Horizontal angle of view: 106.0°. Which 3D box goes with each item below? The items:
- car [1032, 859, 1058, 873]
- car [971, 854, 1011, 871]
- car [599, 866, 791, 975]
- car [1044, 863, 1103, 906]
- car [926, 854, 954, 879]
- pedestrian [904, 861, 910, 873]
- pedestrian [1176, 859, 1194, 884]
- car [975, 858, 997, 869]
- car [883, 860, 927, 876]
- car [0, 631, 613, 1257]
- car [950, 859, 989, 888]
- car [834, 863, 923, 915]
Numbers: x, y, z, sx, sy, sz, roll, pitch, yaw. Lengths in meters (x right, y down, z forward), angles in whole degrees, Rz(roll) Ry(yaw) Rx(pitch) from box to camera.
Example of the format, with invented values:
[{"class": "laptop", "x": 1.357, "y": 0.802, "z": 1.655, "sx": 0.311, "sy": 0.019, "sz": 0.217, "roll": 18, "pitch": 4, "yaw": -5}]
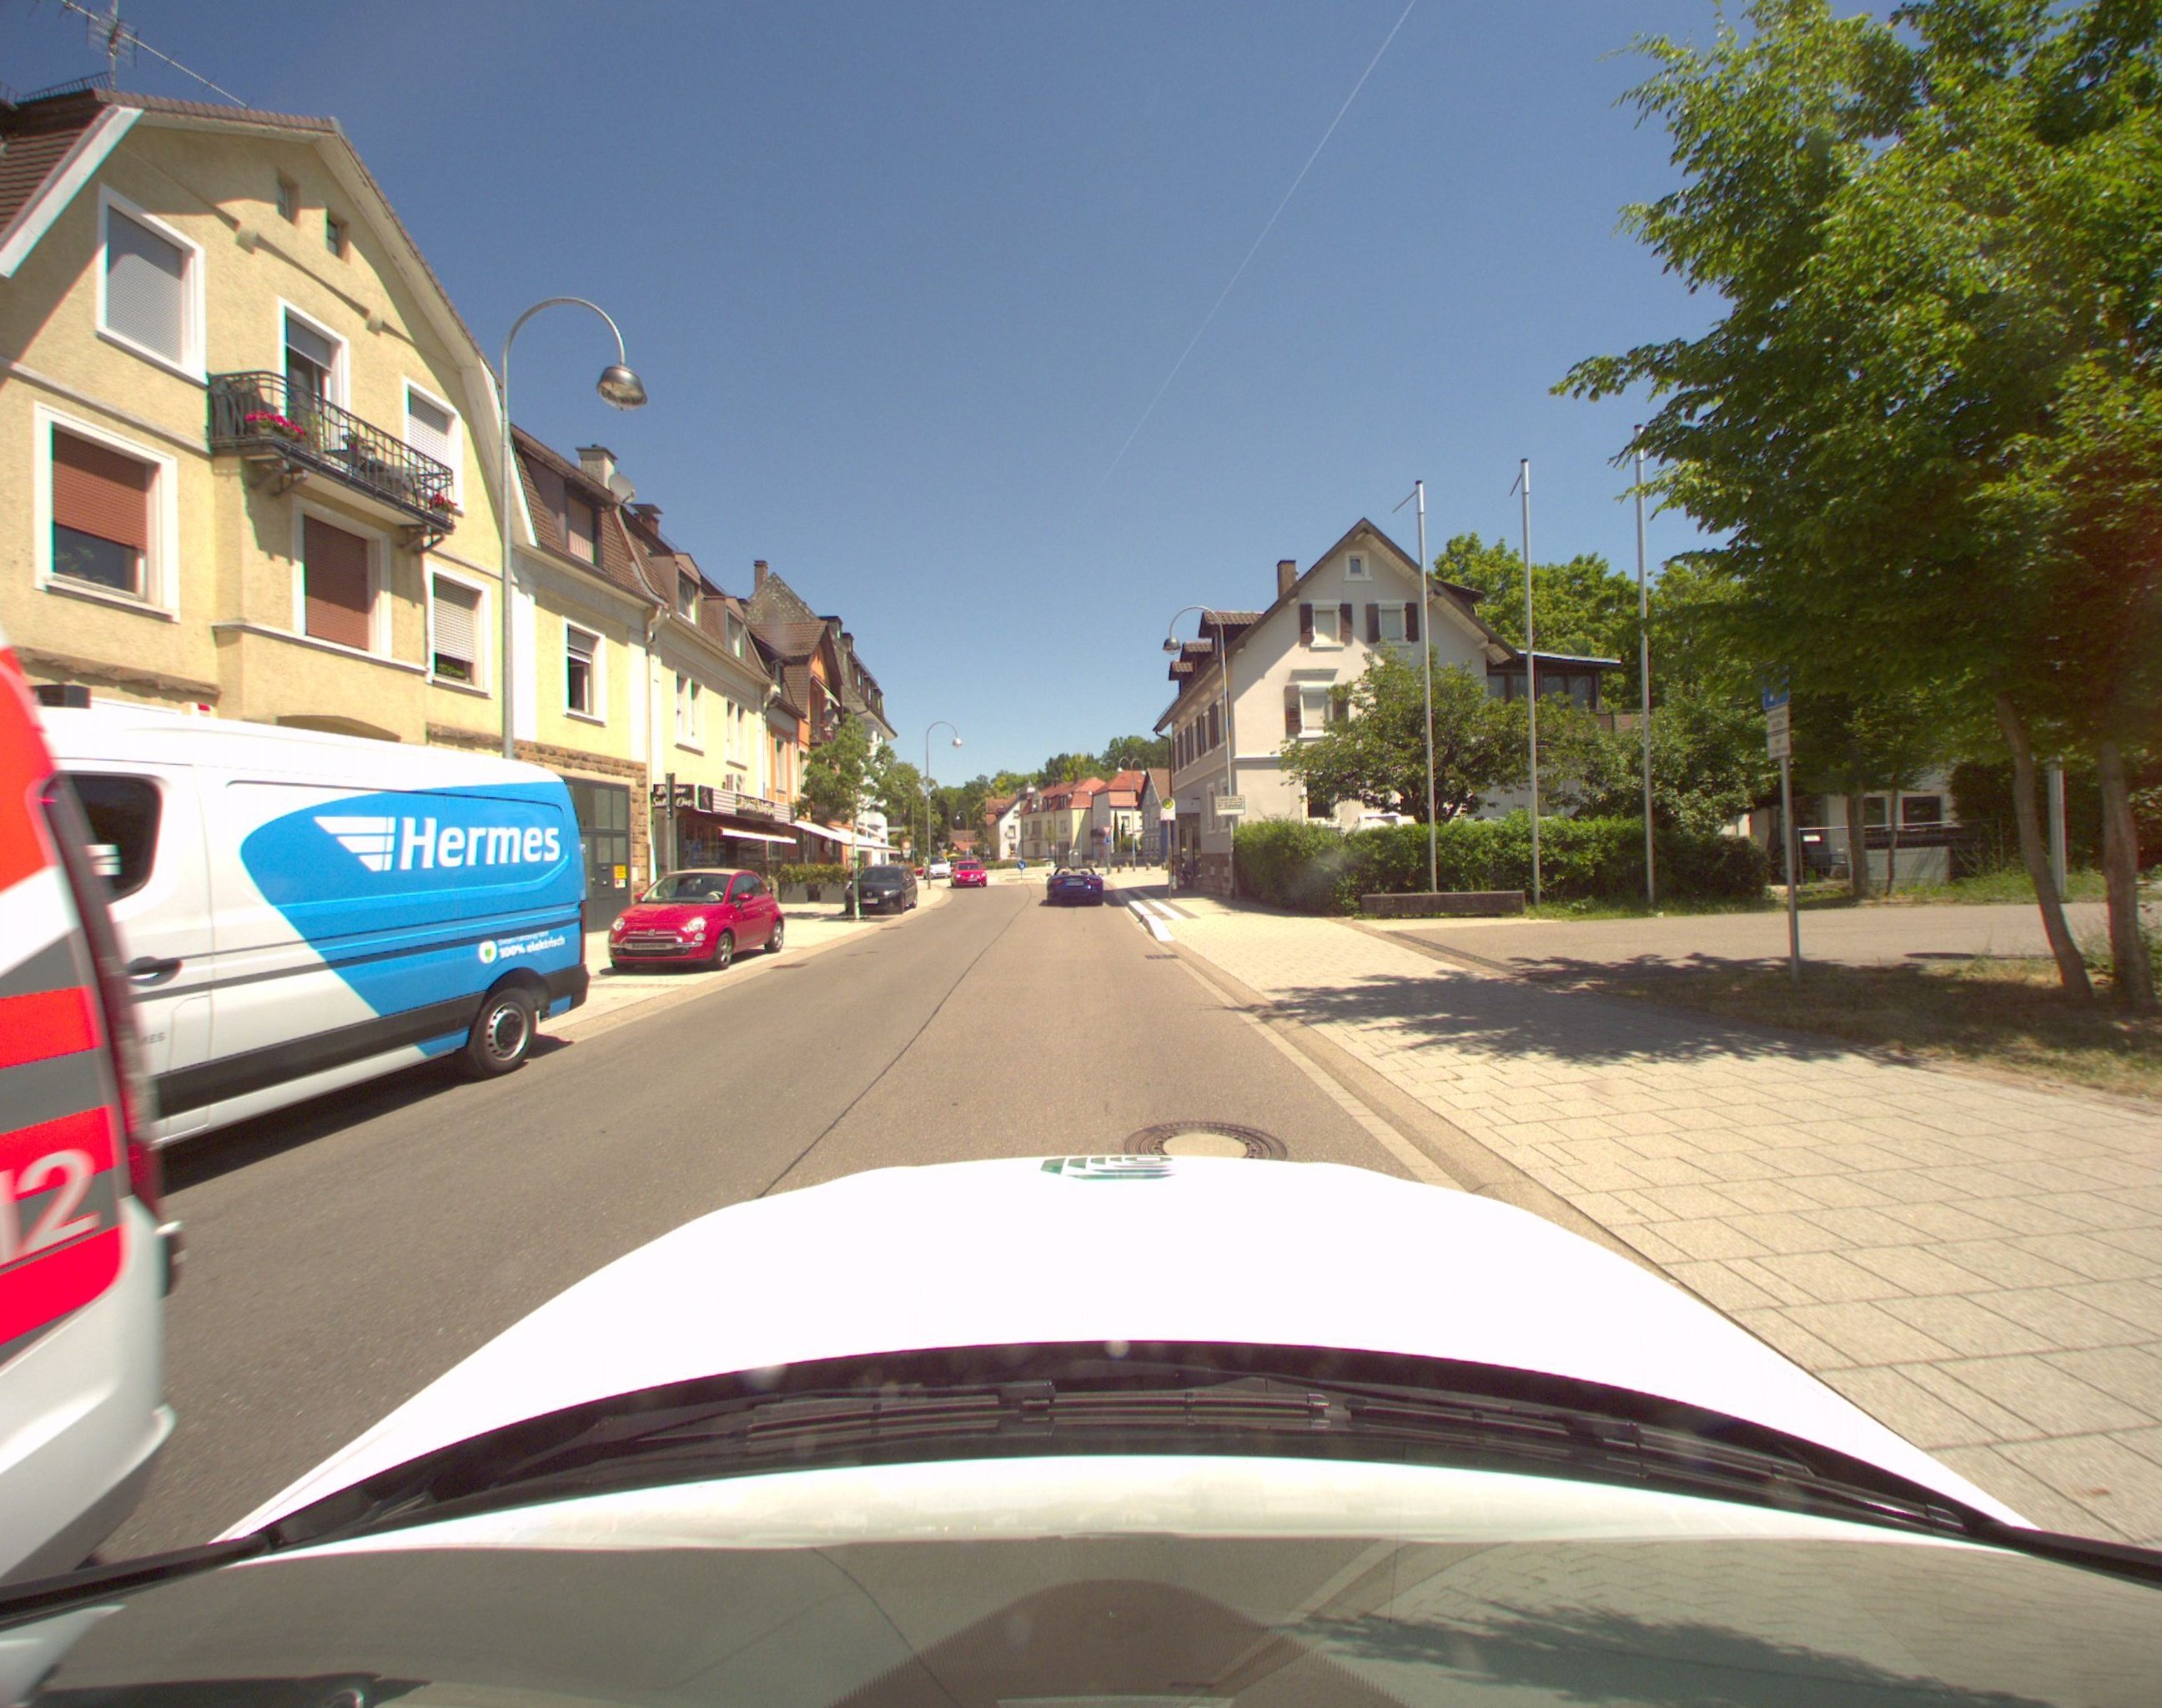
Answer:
[{"class": "car", "x": -4.444, "y": 1.544, "z": 100.968, "sx": 1.926, "sy": 1.613, "sz": 4.117, "roll": -2, "pitch": -2, "yaw": -22}, {"class": "car", "x": -7.958, "y": 0.778, "z": 71.837, "sx": 2.006, "sy": 1.329, "sz": 4.161, "roll": -2, "pitch": 0, "yaw": -29}, {"class": "car", "x": -6.056, "y": 0.971, "z": 13.229, "sx": 1.556, "sy": 1.521, "sz": 3.511, "roll": 0, "pitch": -1, "yaw": -3}, {"class": "car", "x": -0.270, "y": 1.028, "z": 28.539, "sx": 1.905, "sy": 1.360, "sz": 4.283, "roll": 0, "pitch": 0, "yaw": -1}, {"class": "car", "x": -11.093, "y": 0.963, "z": 63.791, "sx": 1.995, "sy": 1.822, "sz": 4.398, "roll": -3, "pitch": 0, "yaw": -11}, {"class": "pedestrian", "x": -23.718, "y": 1.792, "z": 111.045, "sx": 0.532, "sy": 1.576, "sz": 0.564, "roll": -2, "pitch": -1, "yaw": 8}, {"class": "pedestrian", "x": 4.325, "y": 0.701, "z": 33.785, "sx": 0.589, "sy": 0.999, "sz": 0.723, "roll": -3, "pitch": 0, "yaw": -4}, {"class": "car", "x": -14.841, "y": 1.463, "z": 127.669, "sx": 1.863, "sy": 1.588, "sz": 3.959, "roll": -2, "pitch": 0, "yaw": -32}, {"class": "car", "x": -16.574, "y": 1.328, "z": 76.681, "sx": 3.757, "sy": 1.332, "sz": 1.802, "roll": -3, "pitch": 0, "yaw": -20}, {"class": "car", "x": -5.349, "y": 0.365, "z": 4.655, "sx": 2.085, "sy": 2.498, "sz": 5.503, "roll": 0, "pitch": -1, "yaw": 0}, {"class": "car", "x": -6.228, "y": 1.054, "z": 45.824, "sx": 1.913, "sy": 1.427, "sz": 3.972, "roll": -3, "pitch": 0, "yaw": -5}, {"class": "car", "x": -6.363, "y": 1.057, "z": 26.057, "sx": 1.911, "sy": 1.481, "sz": 4.333, "roll": 1, "pitch": 0, "yaw": -3}]
